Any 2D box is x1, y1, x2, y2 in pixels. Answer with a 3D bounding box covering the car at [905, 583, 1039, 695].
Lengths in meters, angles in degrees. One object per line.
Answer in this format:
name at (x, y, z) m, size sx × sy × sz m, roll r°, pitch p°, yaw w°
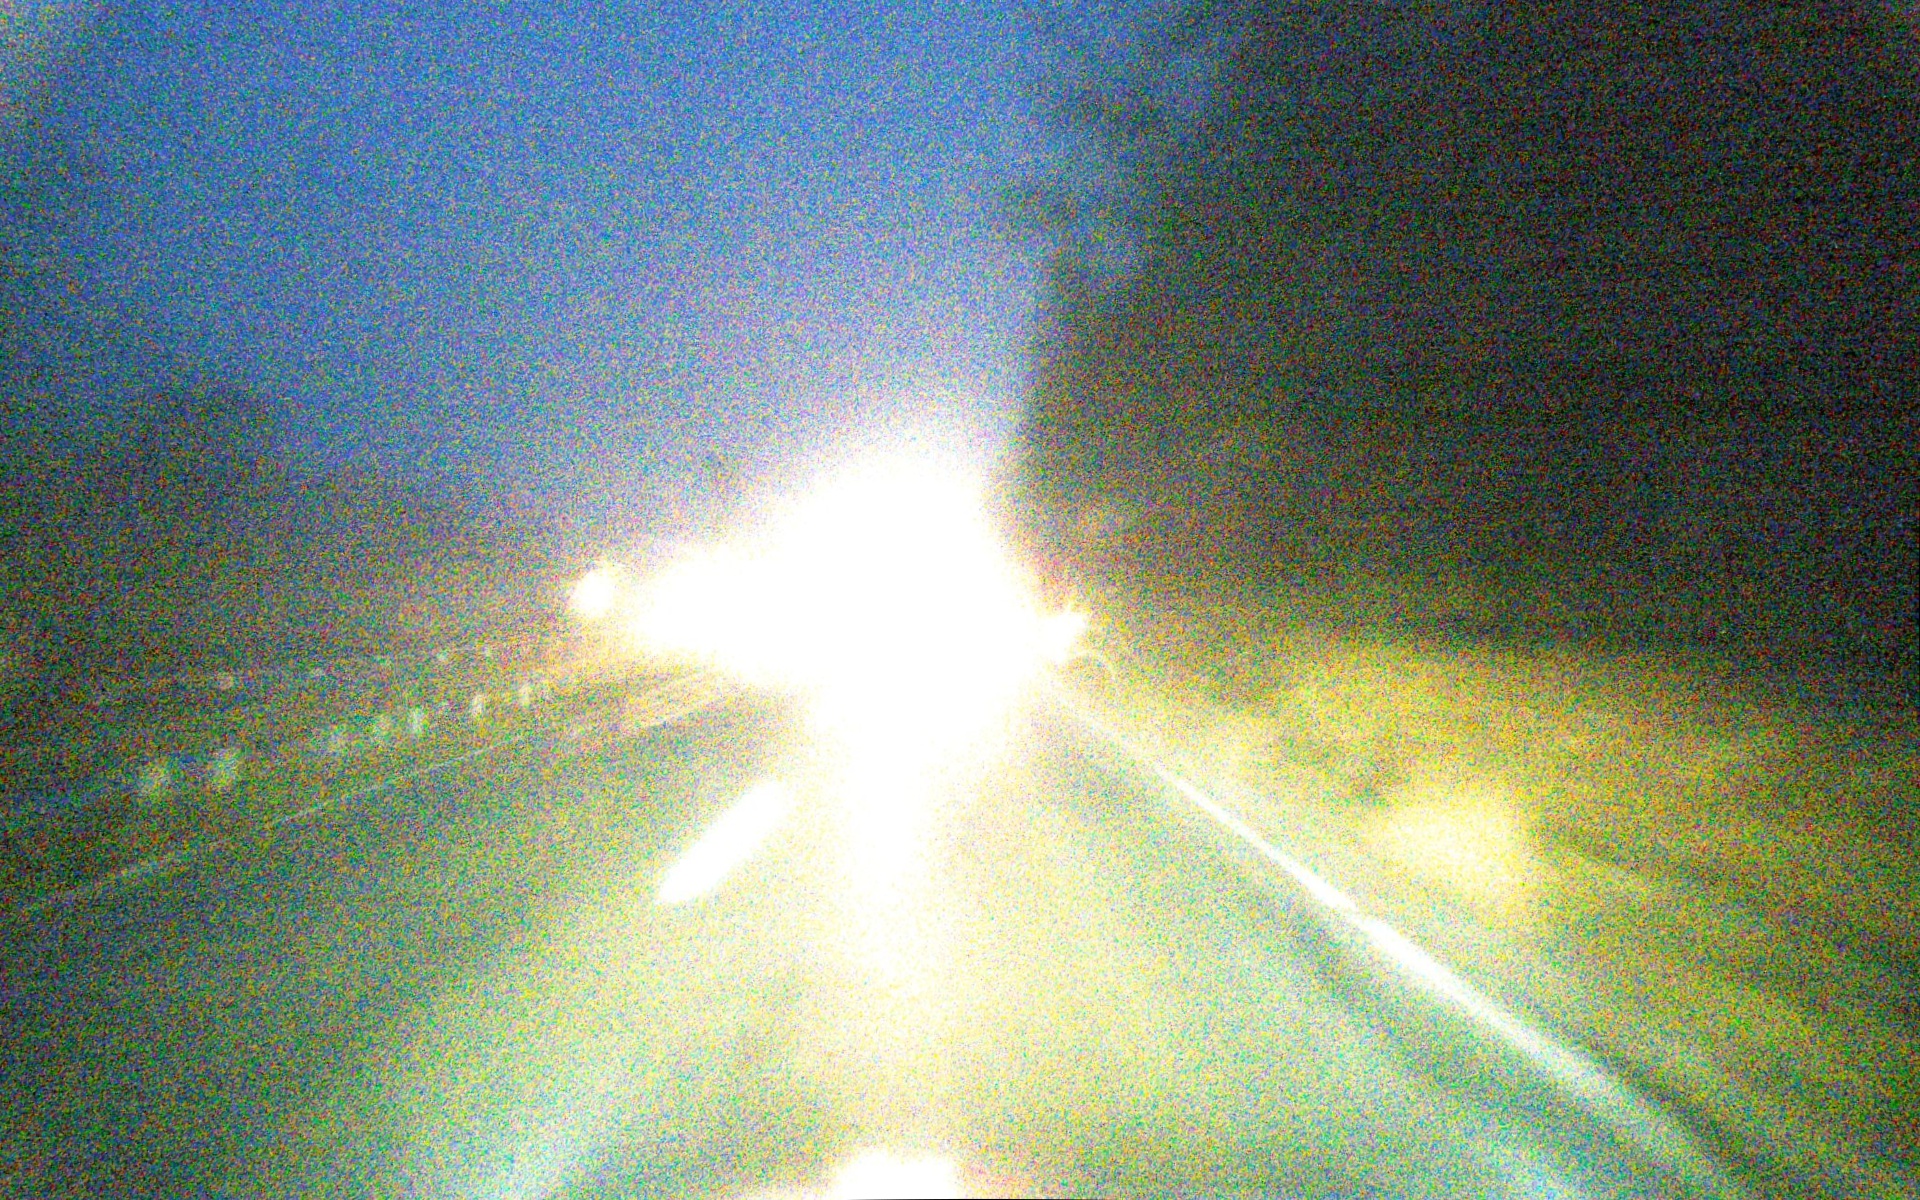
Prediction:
car at (0.213, 0.789, 33.039) m, size 2.407 × 1.993 × 4.910 m, roll -2°, pitch -2°, yaw 0°
